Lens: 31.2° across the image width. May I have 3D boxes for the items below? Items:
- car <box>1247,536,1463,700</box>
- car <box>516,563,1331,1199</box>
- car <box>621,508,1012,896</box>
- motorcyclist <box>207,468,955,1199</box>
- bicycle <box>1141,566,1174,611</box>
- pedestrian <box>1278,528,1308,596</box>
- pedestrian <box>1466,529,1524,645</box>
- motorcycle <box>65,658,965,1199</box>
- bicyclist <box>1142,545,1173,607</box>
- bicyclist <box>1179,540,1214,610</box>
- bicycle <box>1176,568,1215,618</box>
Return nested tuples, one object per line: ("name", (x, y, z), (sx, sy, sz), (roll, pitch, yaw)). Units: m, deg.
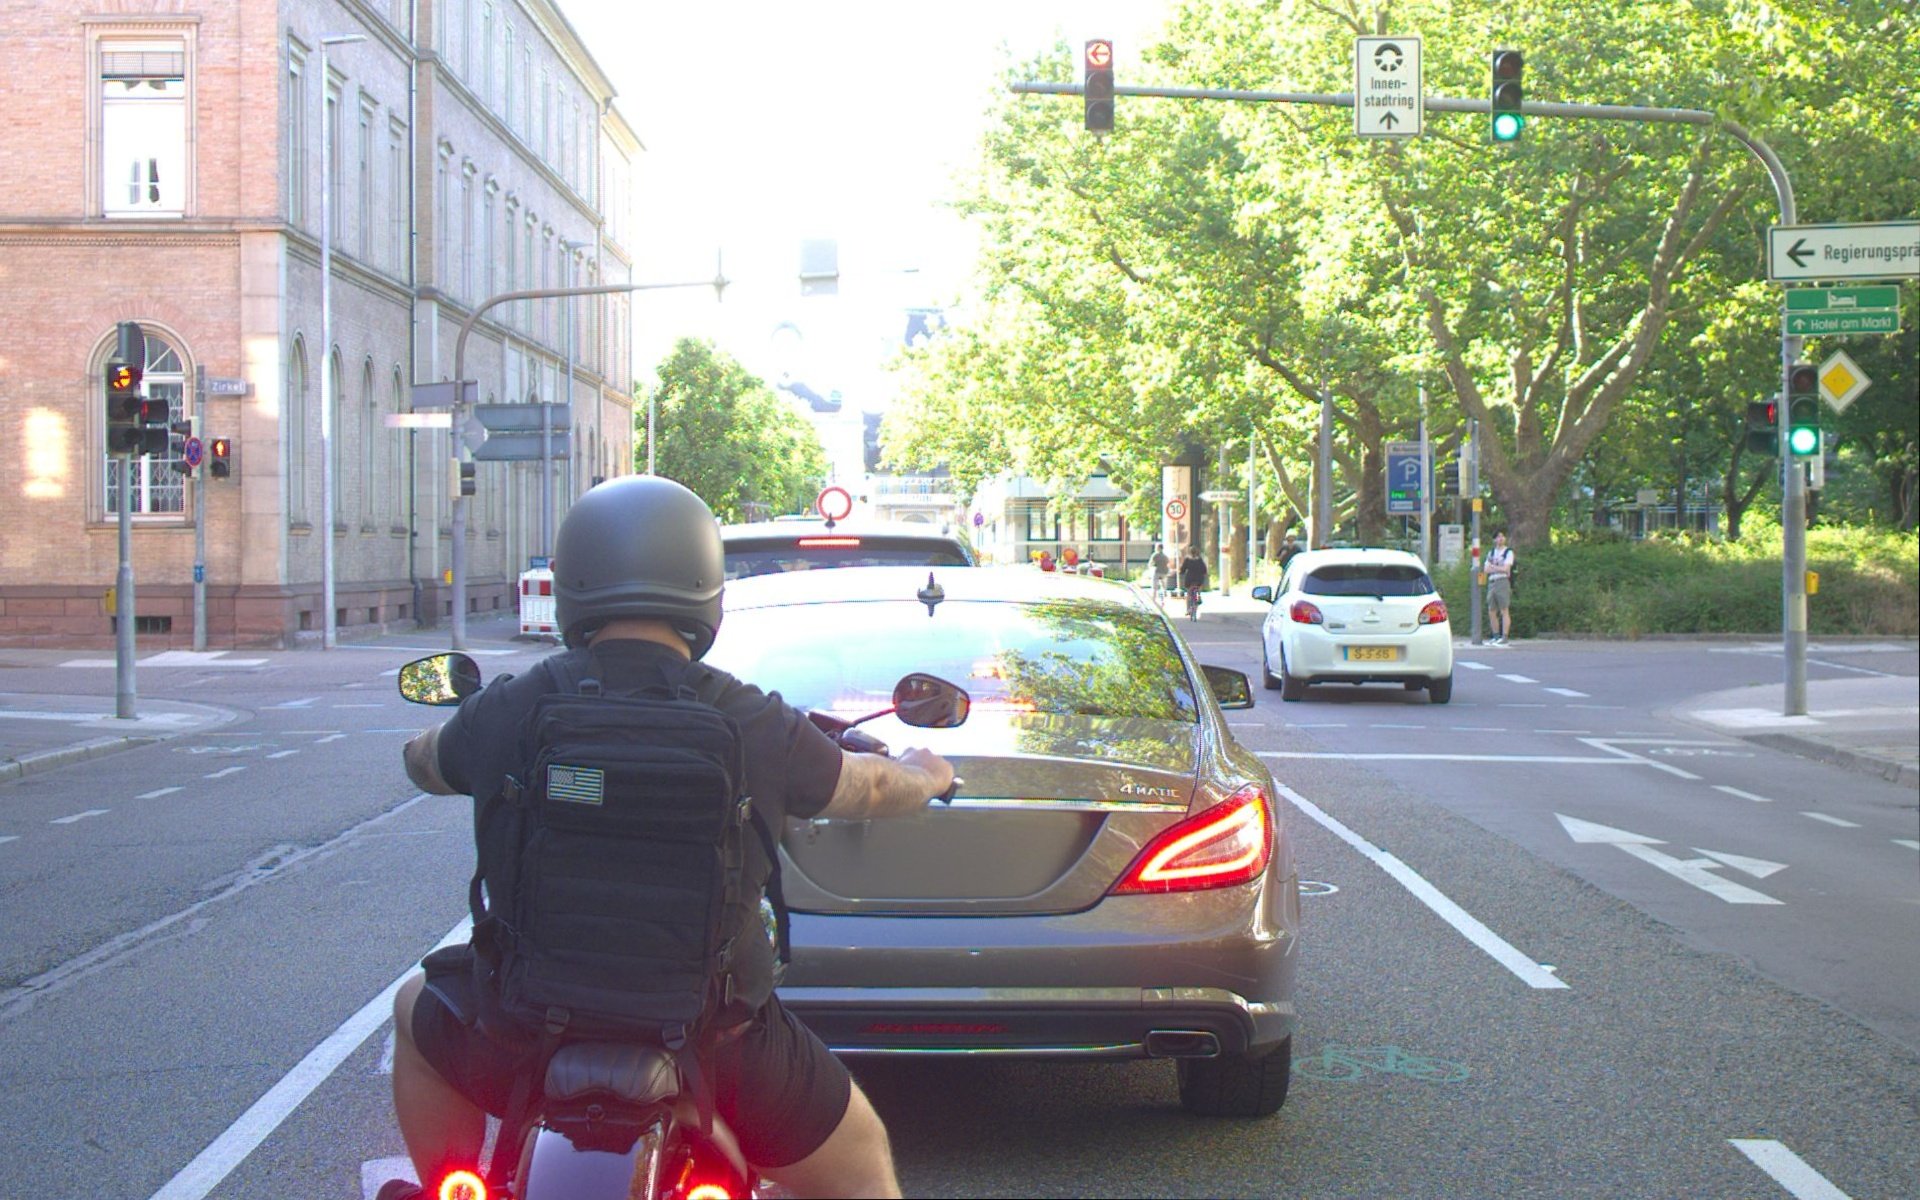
("car", (3.866, 0.151, 34.145), (1.679, 1.493, 3.685), (2, 1, 0))
("car", (-0.109, 0.629, 9.679), (1.828, 1.415, 3.815), (1, 1, -1))
("car", (-0.805, 0.424, 16.806), (1.630, 1.645, 3.851), (2, 1, -6))
("motorcyclist", (-0.524, 0.607, 5.378), (1.012, 1.596, 1.406), (0, 1, -1))
("bicycle", (4.942, -0.297, 86.215), (0.656, 1.107, 2.186), (2, 1, -1))
("pedestrian", (7.803, -0.899, 80.600), (0.592, 1.573, 0.527), (2, 0, 0))
("pedestrian", (8.276, -0.199, 53.196), (0.570, 1.768, 0.625), (1, 0, -35))
("motorcycle", (-0.519, 0.786, 5.218), (1.012, 1.302, 2.673), (0, 1, -1))
("bicyclist", (4.946, -0.599, 86.147), (0.656, 1.525, 0.906), (2, 0, -1))
("bicyclist", (5.207, -0.556, 75.782), (0.656, 1.525, 0.852), (2, 0, -1))
("bicycle", (5.194, -0.162, 75.795), (0.656, 1.066, 1.927), (2, 1, -1))
